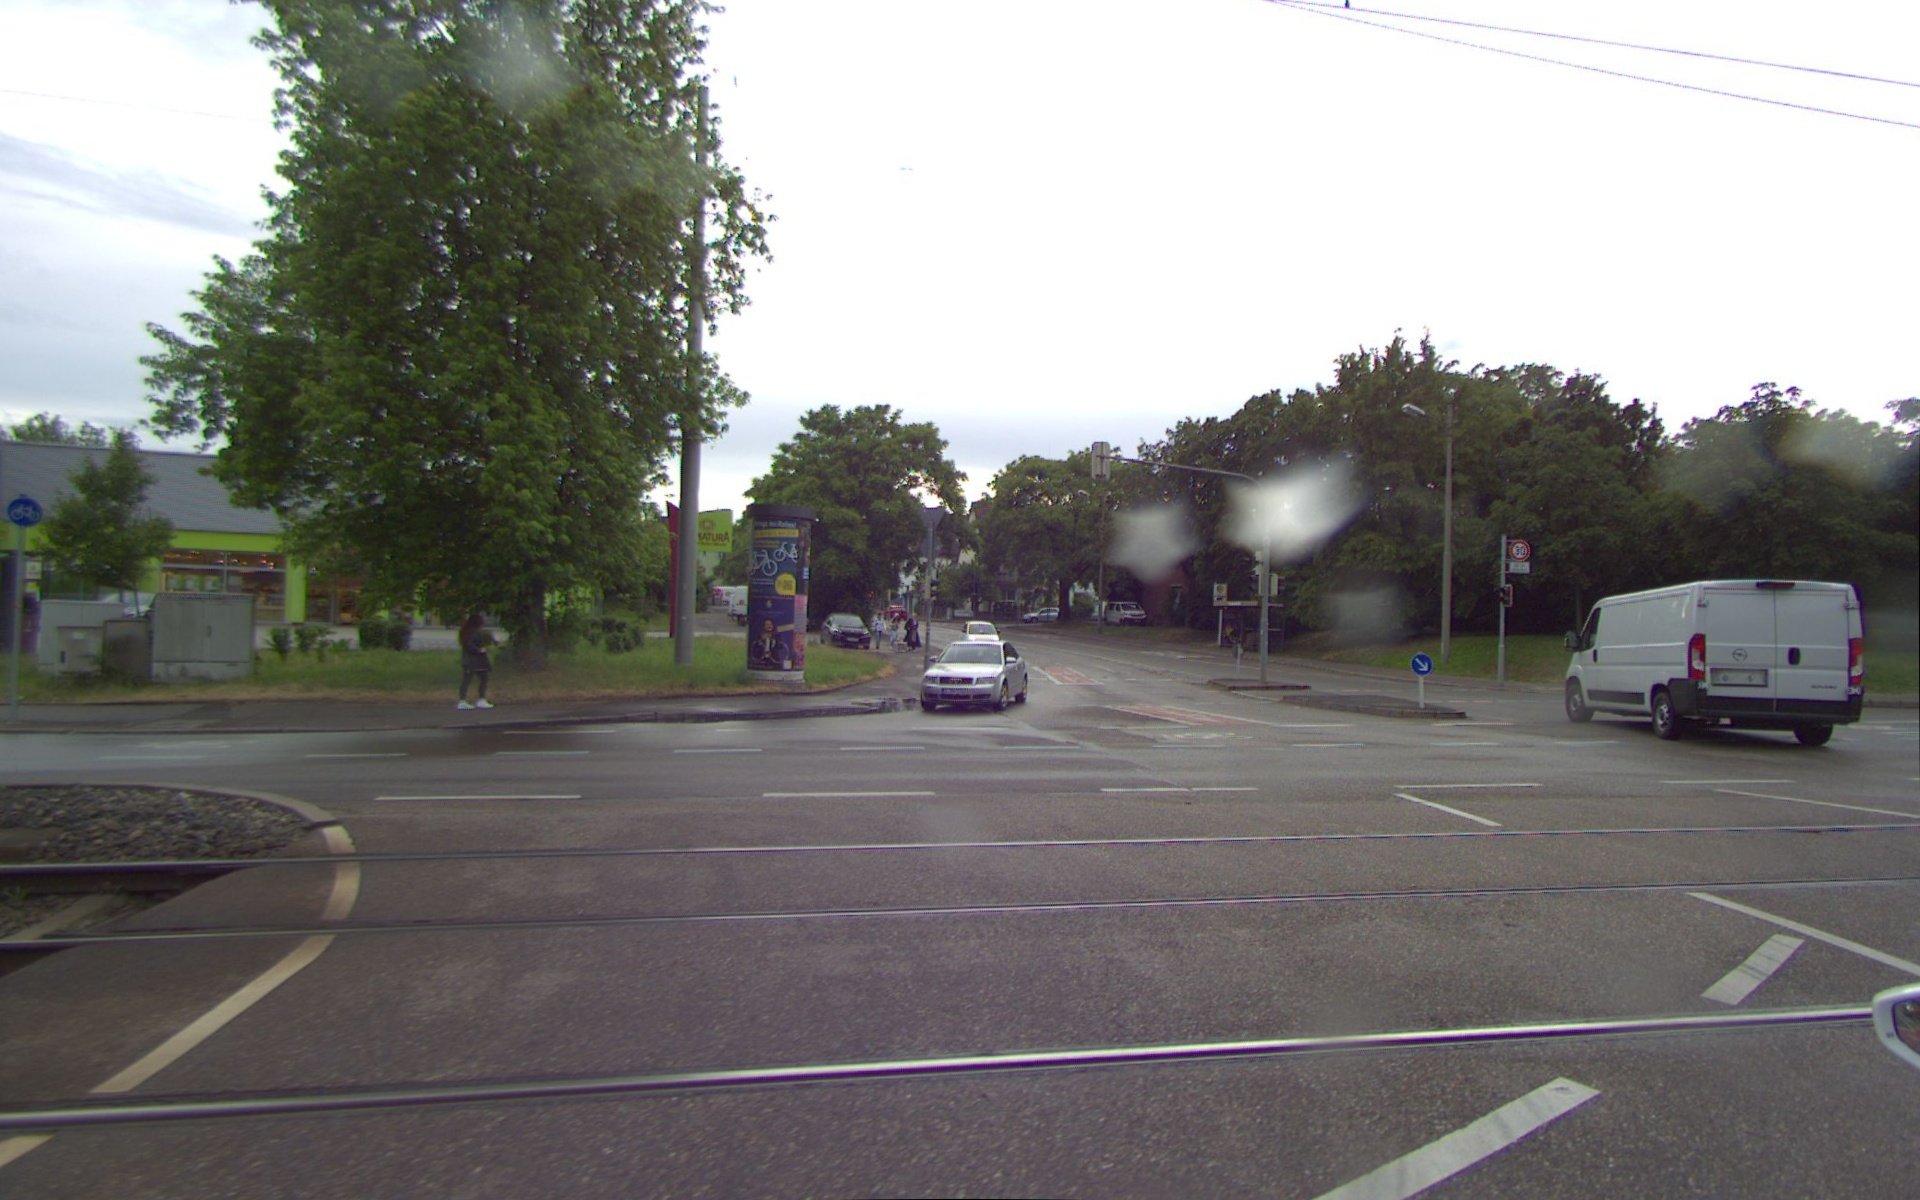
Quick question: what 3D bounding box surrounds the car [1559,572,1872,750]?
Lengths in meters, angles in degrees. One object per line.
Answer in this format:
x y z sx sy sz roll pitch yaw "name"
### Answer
11.450 0.830 15.785 2.110 2.314 5.065 0 -1 14 "car"
